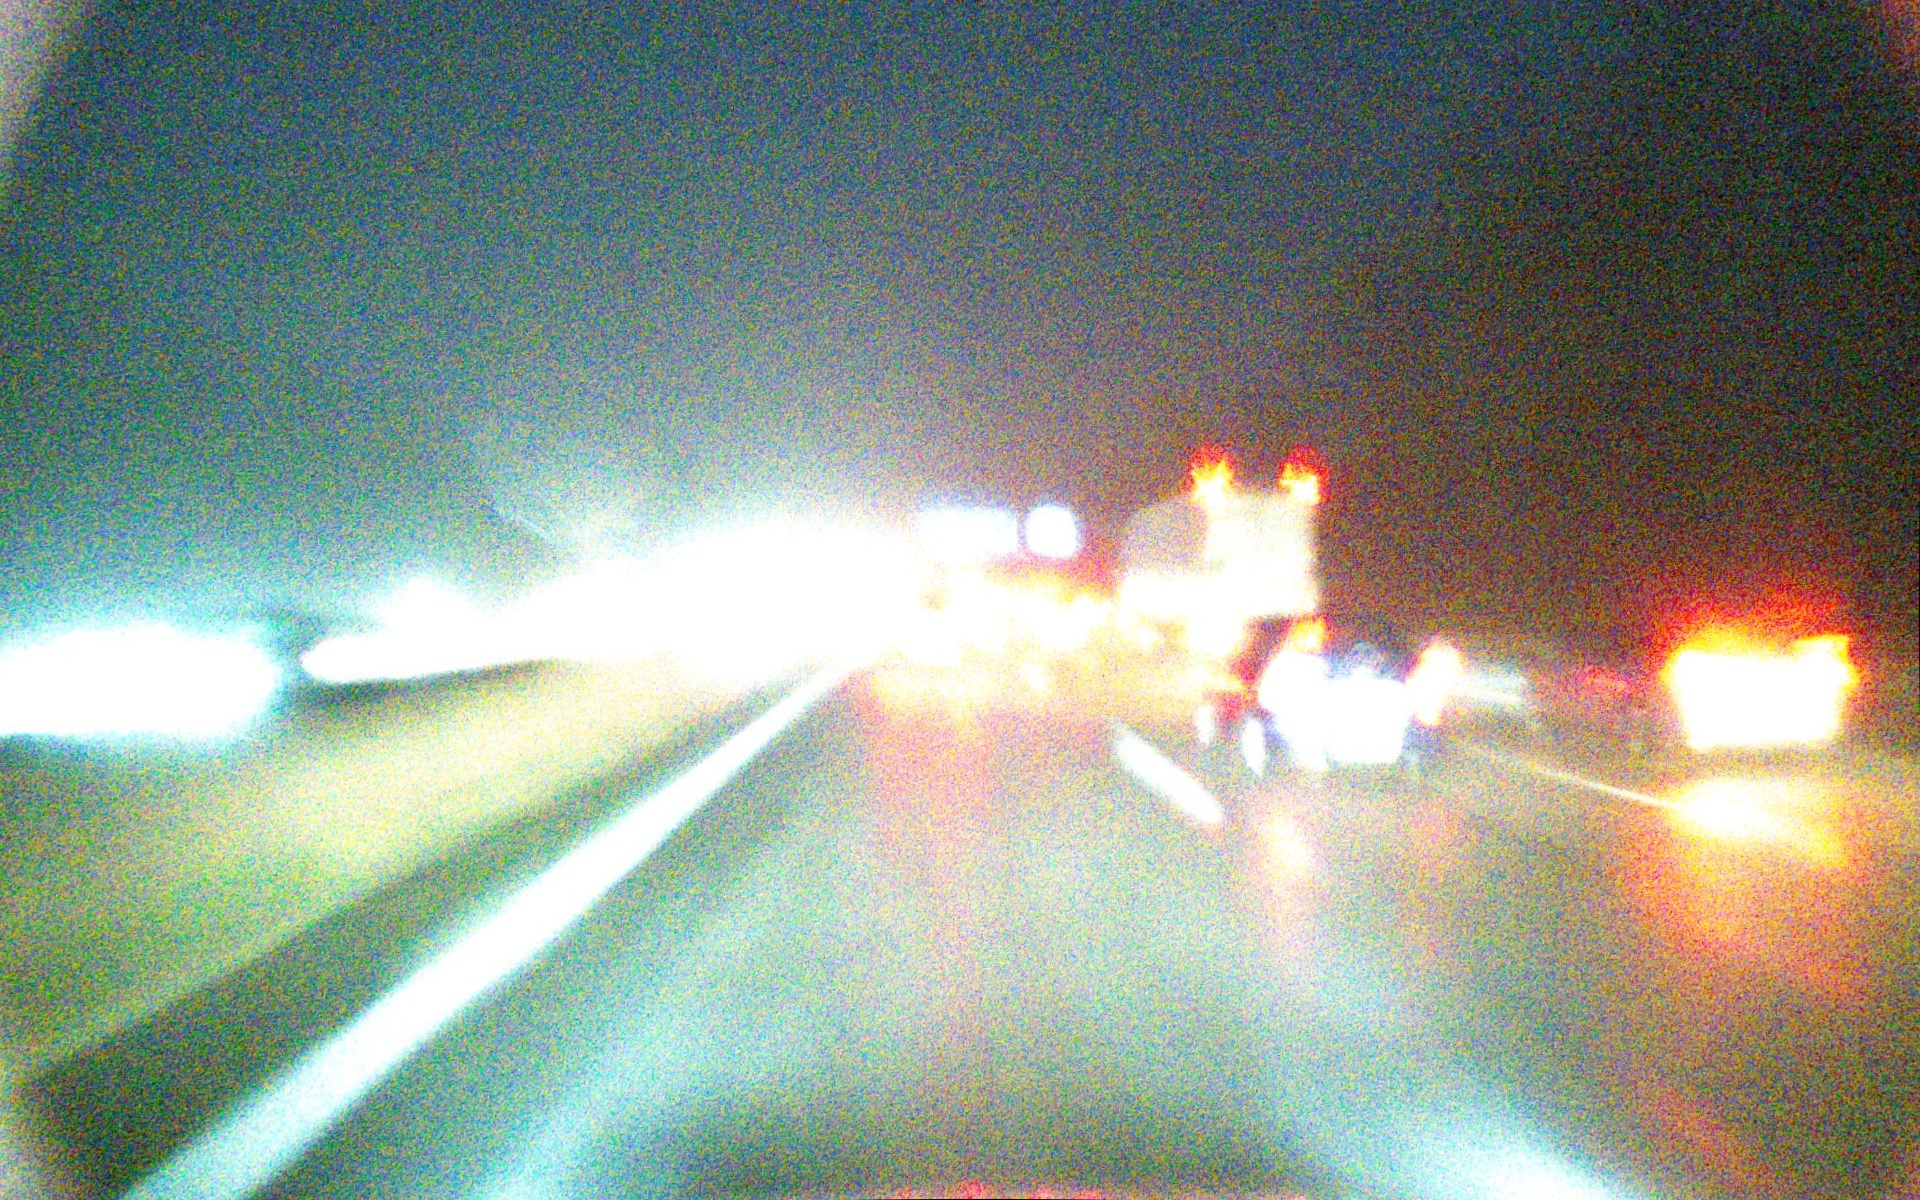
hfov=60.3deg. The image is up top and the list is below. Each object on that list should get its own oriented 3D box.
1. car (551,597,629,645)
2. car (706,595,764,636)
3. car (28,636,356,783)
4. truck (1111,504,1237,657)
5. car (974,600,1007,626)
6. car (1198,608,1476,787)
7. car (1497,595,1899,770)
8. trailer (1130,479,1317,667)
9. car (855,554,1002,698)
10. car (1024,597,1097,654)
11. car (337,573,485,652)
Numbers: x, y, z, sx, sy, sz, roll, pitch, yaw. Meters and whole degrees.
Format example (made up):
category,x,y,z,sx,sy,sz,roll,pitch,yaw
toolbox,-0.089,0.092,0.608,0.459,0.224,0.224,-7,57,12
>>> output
category,x,y,z,sx,sy,sz,roll,pitch,yaw
car,-13.752,0.748,61.767,1.953,1.645,4.744,-2,0,-2
car,-9.634,0.633,71.123,1.953,1.645,4.416,-2,0,-2
car,-8.701,1.177,19.202,1.923,1.368,4.286,0,1,-2
truck,6.489,-0.561,51.148,2.747,4.341,7.446,1,0,-1
car,1.998,0.846,109.579,2.093,1.646,4.000,1,0,0
car,3.341,0.803,15.341,1.580,1.437,3.790,1,0,-2
car,7.460,0.742,17.385,1.856,1.512,4.960,1,0,-2
trailer,6.658,-0.619,43.921,2.747,4.286,12.093,1,0,-1
car,-0.710,0.456,33.669,2.655,2.578,5.828,-2,0,-3
car,2.984,0.732,49.710,1.846,1.616,3.999,1,0,-1
car,-12.017,0.234,36.554,1.616,1.609,5.127,0,1,-1
